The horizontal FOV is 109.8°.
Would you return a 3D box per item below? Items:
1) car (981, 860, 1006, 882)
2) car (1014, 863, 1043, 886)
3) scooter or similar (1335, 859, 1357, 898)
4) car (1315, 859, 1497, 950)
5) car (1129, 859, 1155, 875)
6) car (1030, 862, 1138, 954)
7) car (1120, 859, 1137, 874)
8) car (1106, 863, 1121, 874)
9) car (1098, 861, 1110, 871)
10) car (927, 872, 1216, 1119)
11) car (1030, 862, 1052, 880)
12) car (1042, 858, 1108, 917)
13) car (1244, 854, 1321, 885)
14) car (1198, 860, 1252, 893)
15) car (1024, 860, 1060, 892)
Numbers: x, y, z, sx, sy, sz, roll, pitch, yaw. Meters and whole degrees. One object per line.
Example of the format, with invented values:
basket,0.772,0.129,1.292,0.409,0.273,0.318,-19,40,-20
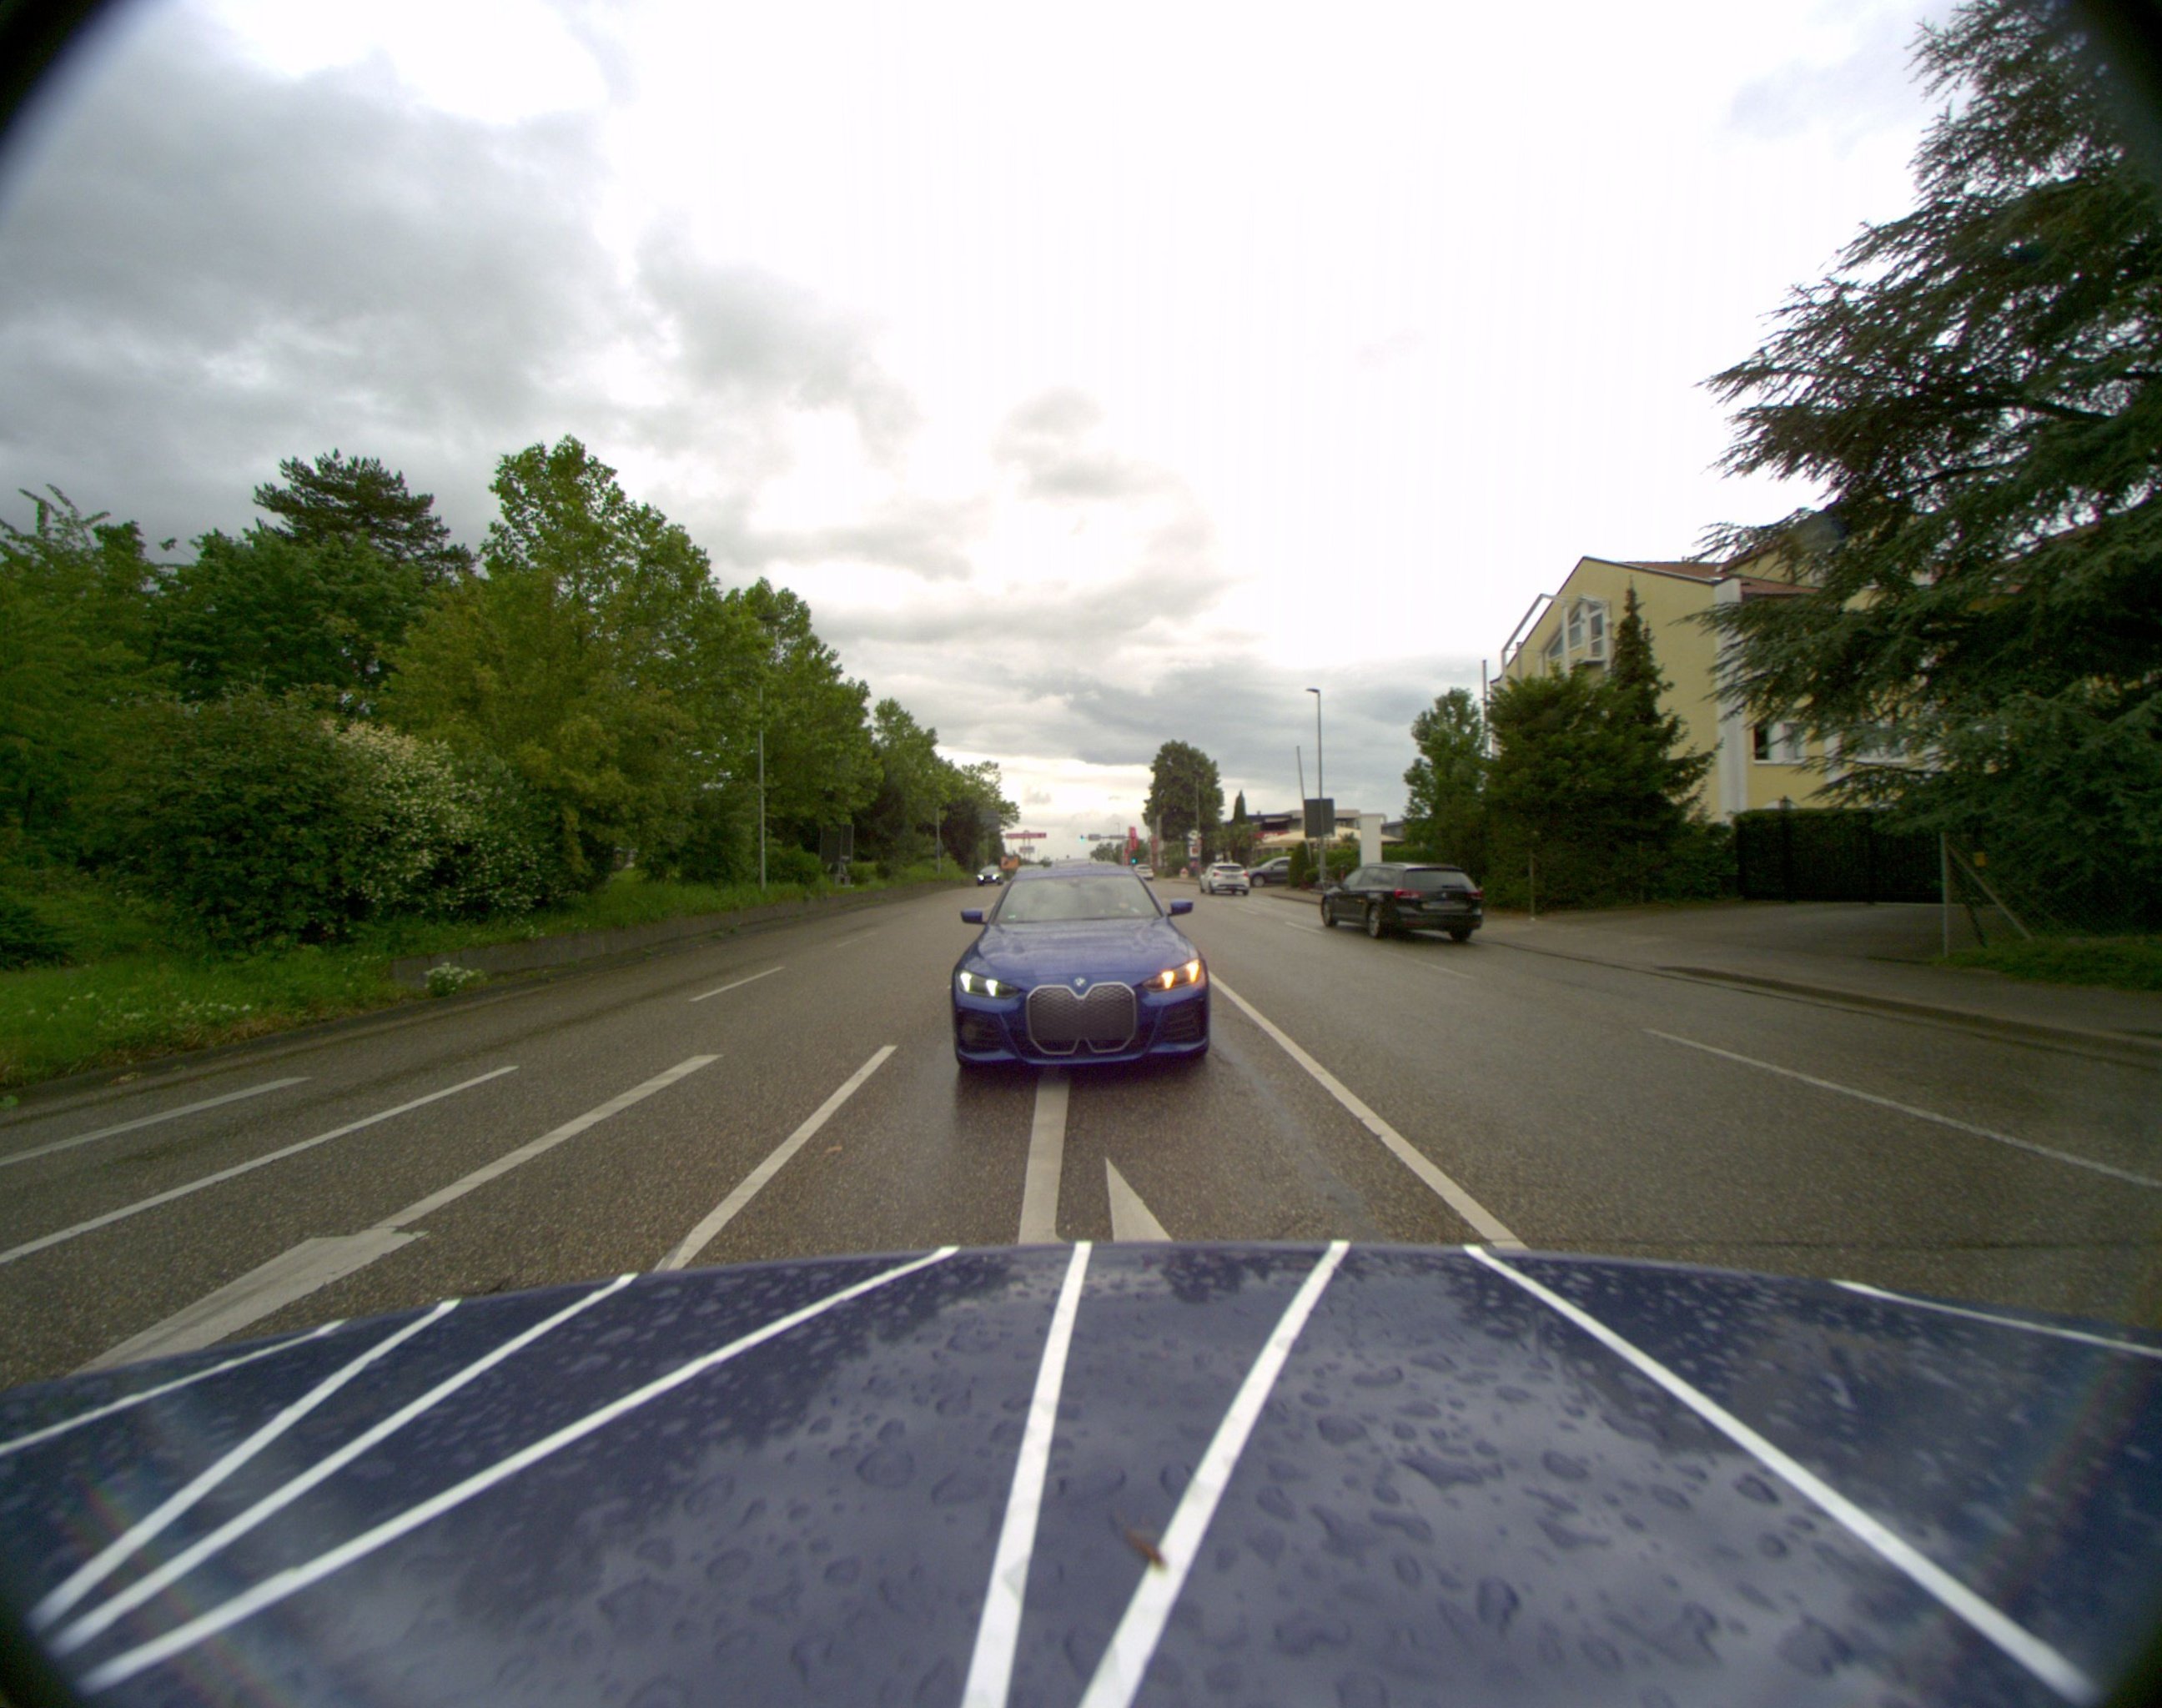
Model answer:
car,-7.139,1.372,62.436,1.705,1.613,3.840,-3,1,-2
car,-3.654,1.425,53.474,1.795,1.451,4.719,-1,0,-1
scooter or similar,10.040,0.896,28.830,0.505,1.398,1.882,0,1,11
car,6.367,0.900,15.501,1.780,1.493,4.471,-1,1,0
car,5.732,1.215,72.175,1.973,1.446,4.307,0,0,-2
car,0.063,0.946,15.097,1.807,1.543,4.223,-1,0,0
car,5.527,1.416,88.104,1.703,1.590,3.549,0,0,0
car,4.793,2.123,112.729,1.790,1.451,4.431,-1,0,-3
car,3.793,2.009,126.308,1.700,1.466,3.781,-3,-2,-2
car,-0.061,0.948,6.934,1.803,1.399,4.272,-1,0,0
car,-3.992,1.680,77.128,1.979,1.613,3.841,-3,1,0
car,-0.152,0.929,22.825,1.807,1.543,4.000,-1,0,0
car,11.214,0.846,42.545,3.930,1.642,1.719,-1,1,6
car,6.680,1.025,35.537,1.750,1.389,3.801,-1,0,-1
car,-2.075,1.135,41.301,1.698,1.580,4.000,-1,0,1
